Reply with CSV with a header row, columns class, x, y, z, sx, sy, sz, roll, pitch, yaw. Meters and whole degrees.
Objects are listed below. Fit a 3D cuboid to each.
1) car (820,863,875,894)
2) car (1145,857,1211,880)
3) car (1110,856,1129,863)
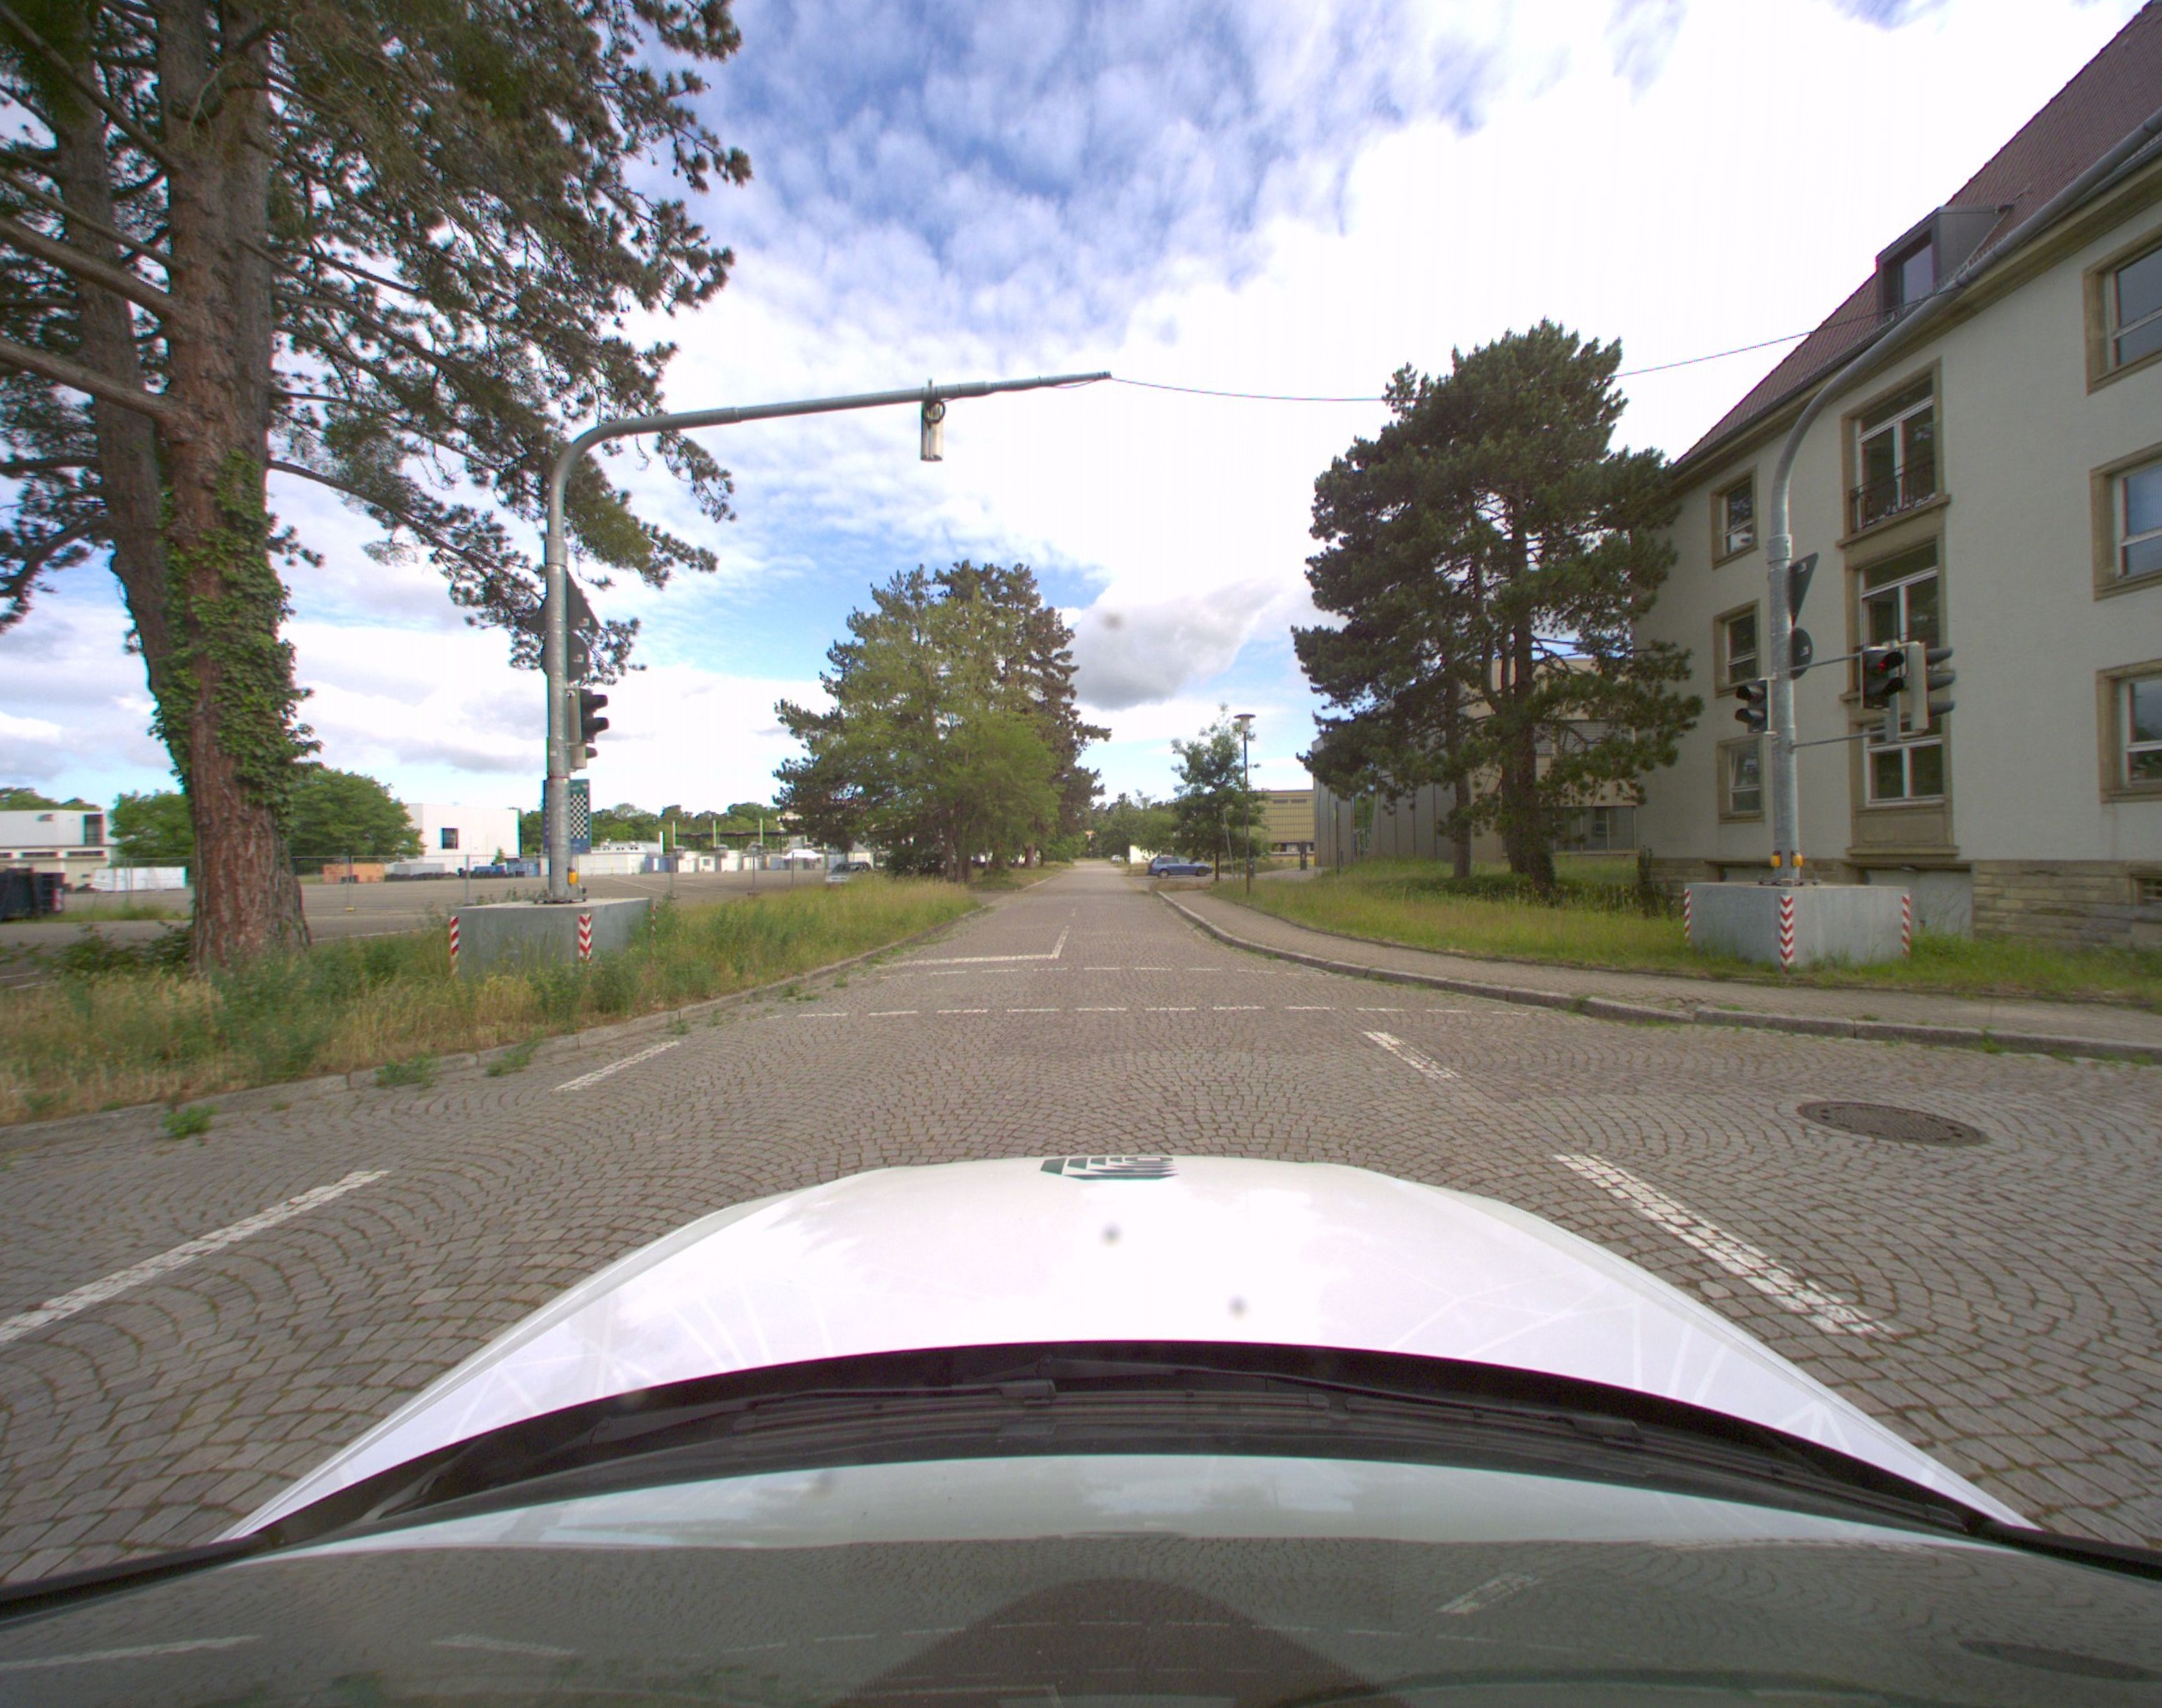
class,x,y,z,sx,sy,sz,roll,pitch,yaw
car,-12.031,1.234,42.199,1.607,1.487,4.001,-1,0,1
car,6.722,0.997,56.865,4.332,1.422,1.999,-1,0,-2
car,8.206,1.190,173.950,3.980,1.398,1.997,-1,0,-5
